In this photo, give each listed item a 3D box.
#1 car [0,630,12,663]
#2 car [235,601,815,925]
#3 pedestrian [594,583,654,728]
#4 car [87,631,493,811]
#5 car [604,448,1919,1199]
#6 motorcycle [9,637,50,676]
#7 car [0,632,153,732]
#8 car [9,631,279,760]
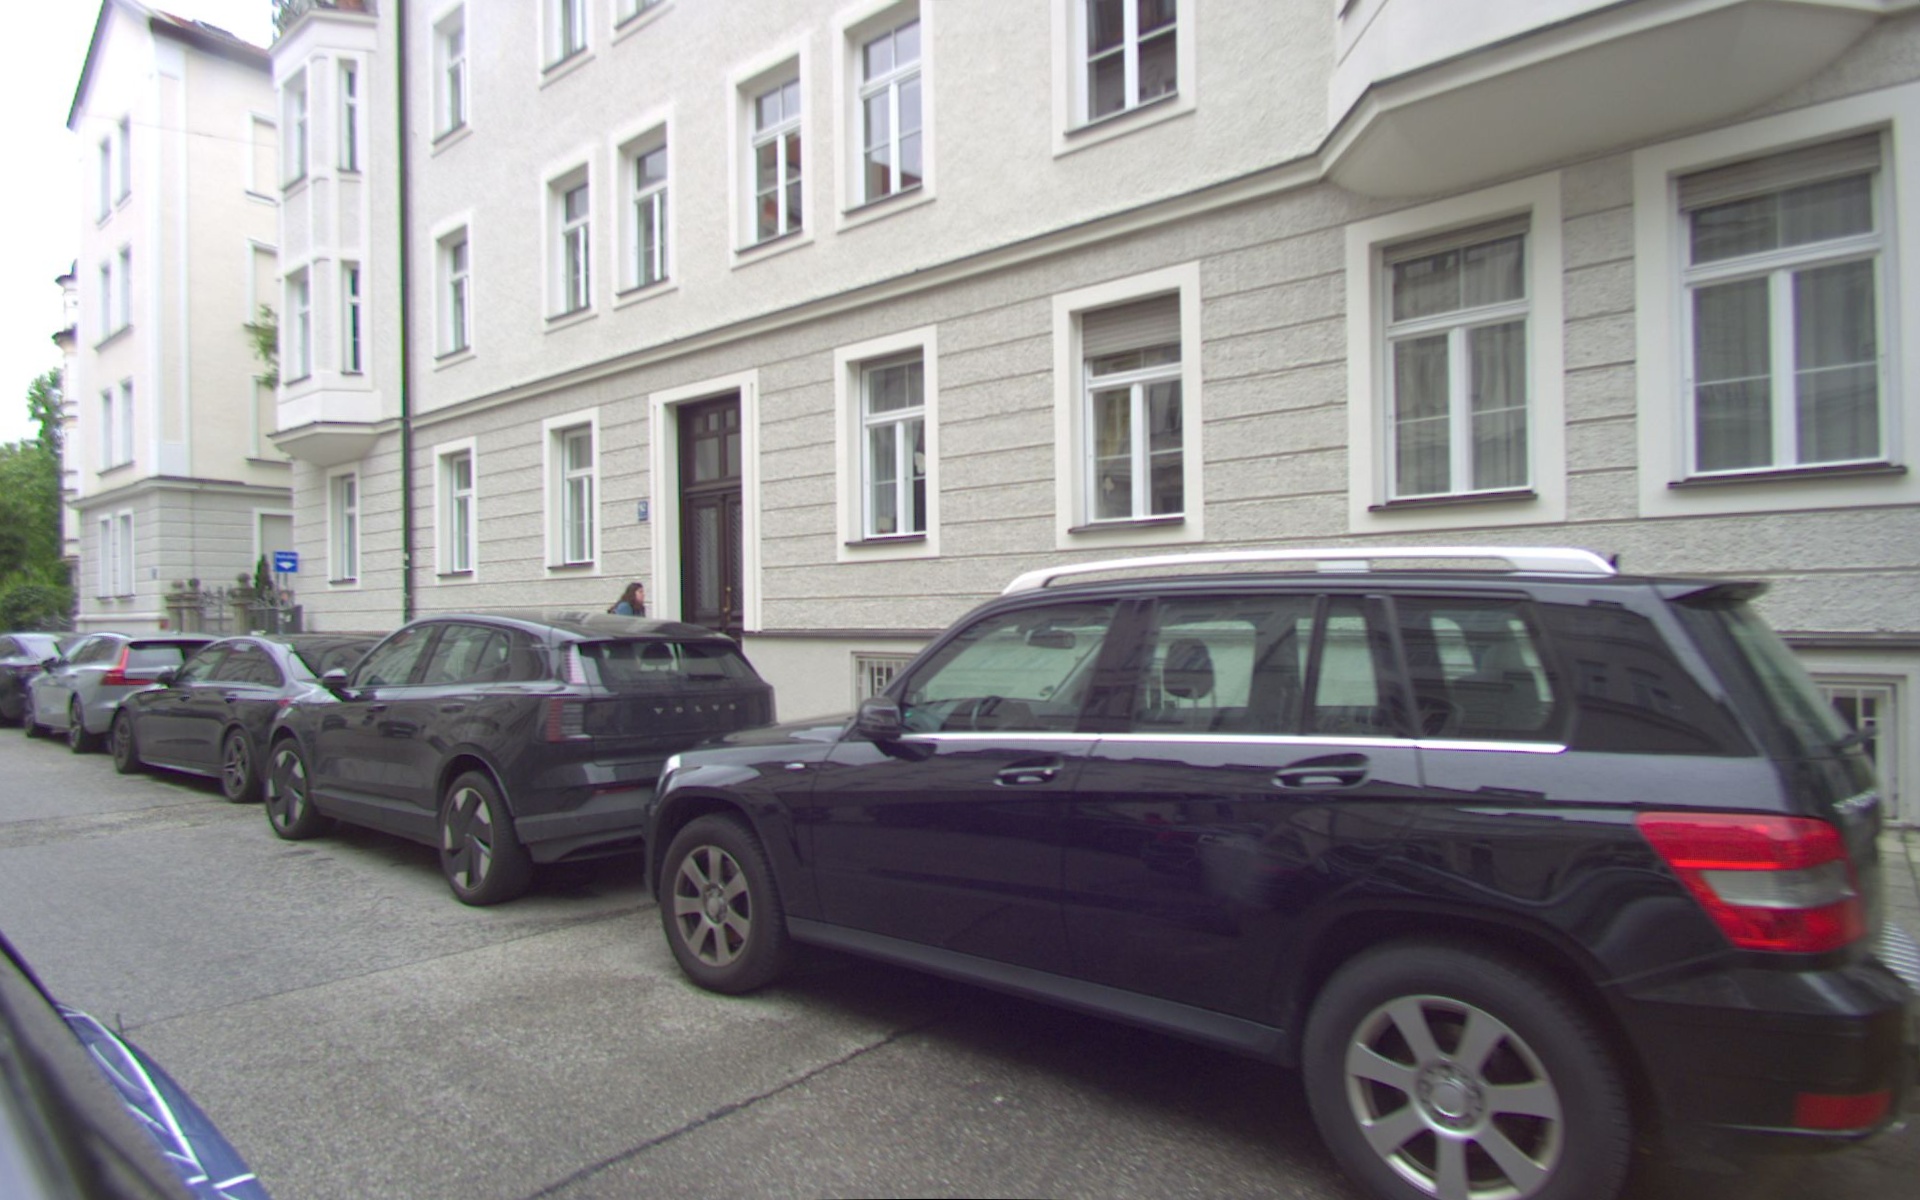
[{"bbox_3d":[-56.170,2.642,56.427,2.047,1.872,4.474,-2,-1,31],"label":"car"},{"bbox_3d":[-3.046,0.808,6.672,4.175,1.498,1.725,-2,-1,38],"label":"car"},{"bbox_3d":[-4.164,0.668,12.538,0.654,1.720,0.702,-1,-1,-19],"label":"pedestrian"},{"bbox_3d":[-6.657,1.022,9.903,4.433,1.396,1.795,-2,-3,35],"label":"car"},{"bbox_3d":[0.713,0.663,3.721,4.268,1.686,1.729,-2,-4,37],"label":"car"},{"bbox_3d":[-31.715,1.906,34.493,1.818,1.259,0.698,-1,1,37],"label":"motorcycle"},{"bbox_3d":[-15.103,1.258,16.549,4.692,1.377,1.833,-2,-1,36],"label":"car"},{"bbox_3d":[-10.845,1.147,13.337,4.505,1.430,1.777,-1,-4,38],"label":"car"}]
